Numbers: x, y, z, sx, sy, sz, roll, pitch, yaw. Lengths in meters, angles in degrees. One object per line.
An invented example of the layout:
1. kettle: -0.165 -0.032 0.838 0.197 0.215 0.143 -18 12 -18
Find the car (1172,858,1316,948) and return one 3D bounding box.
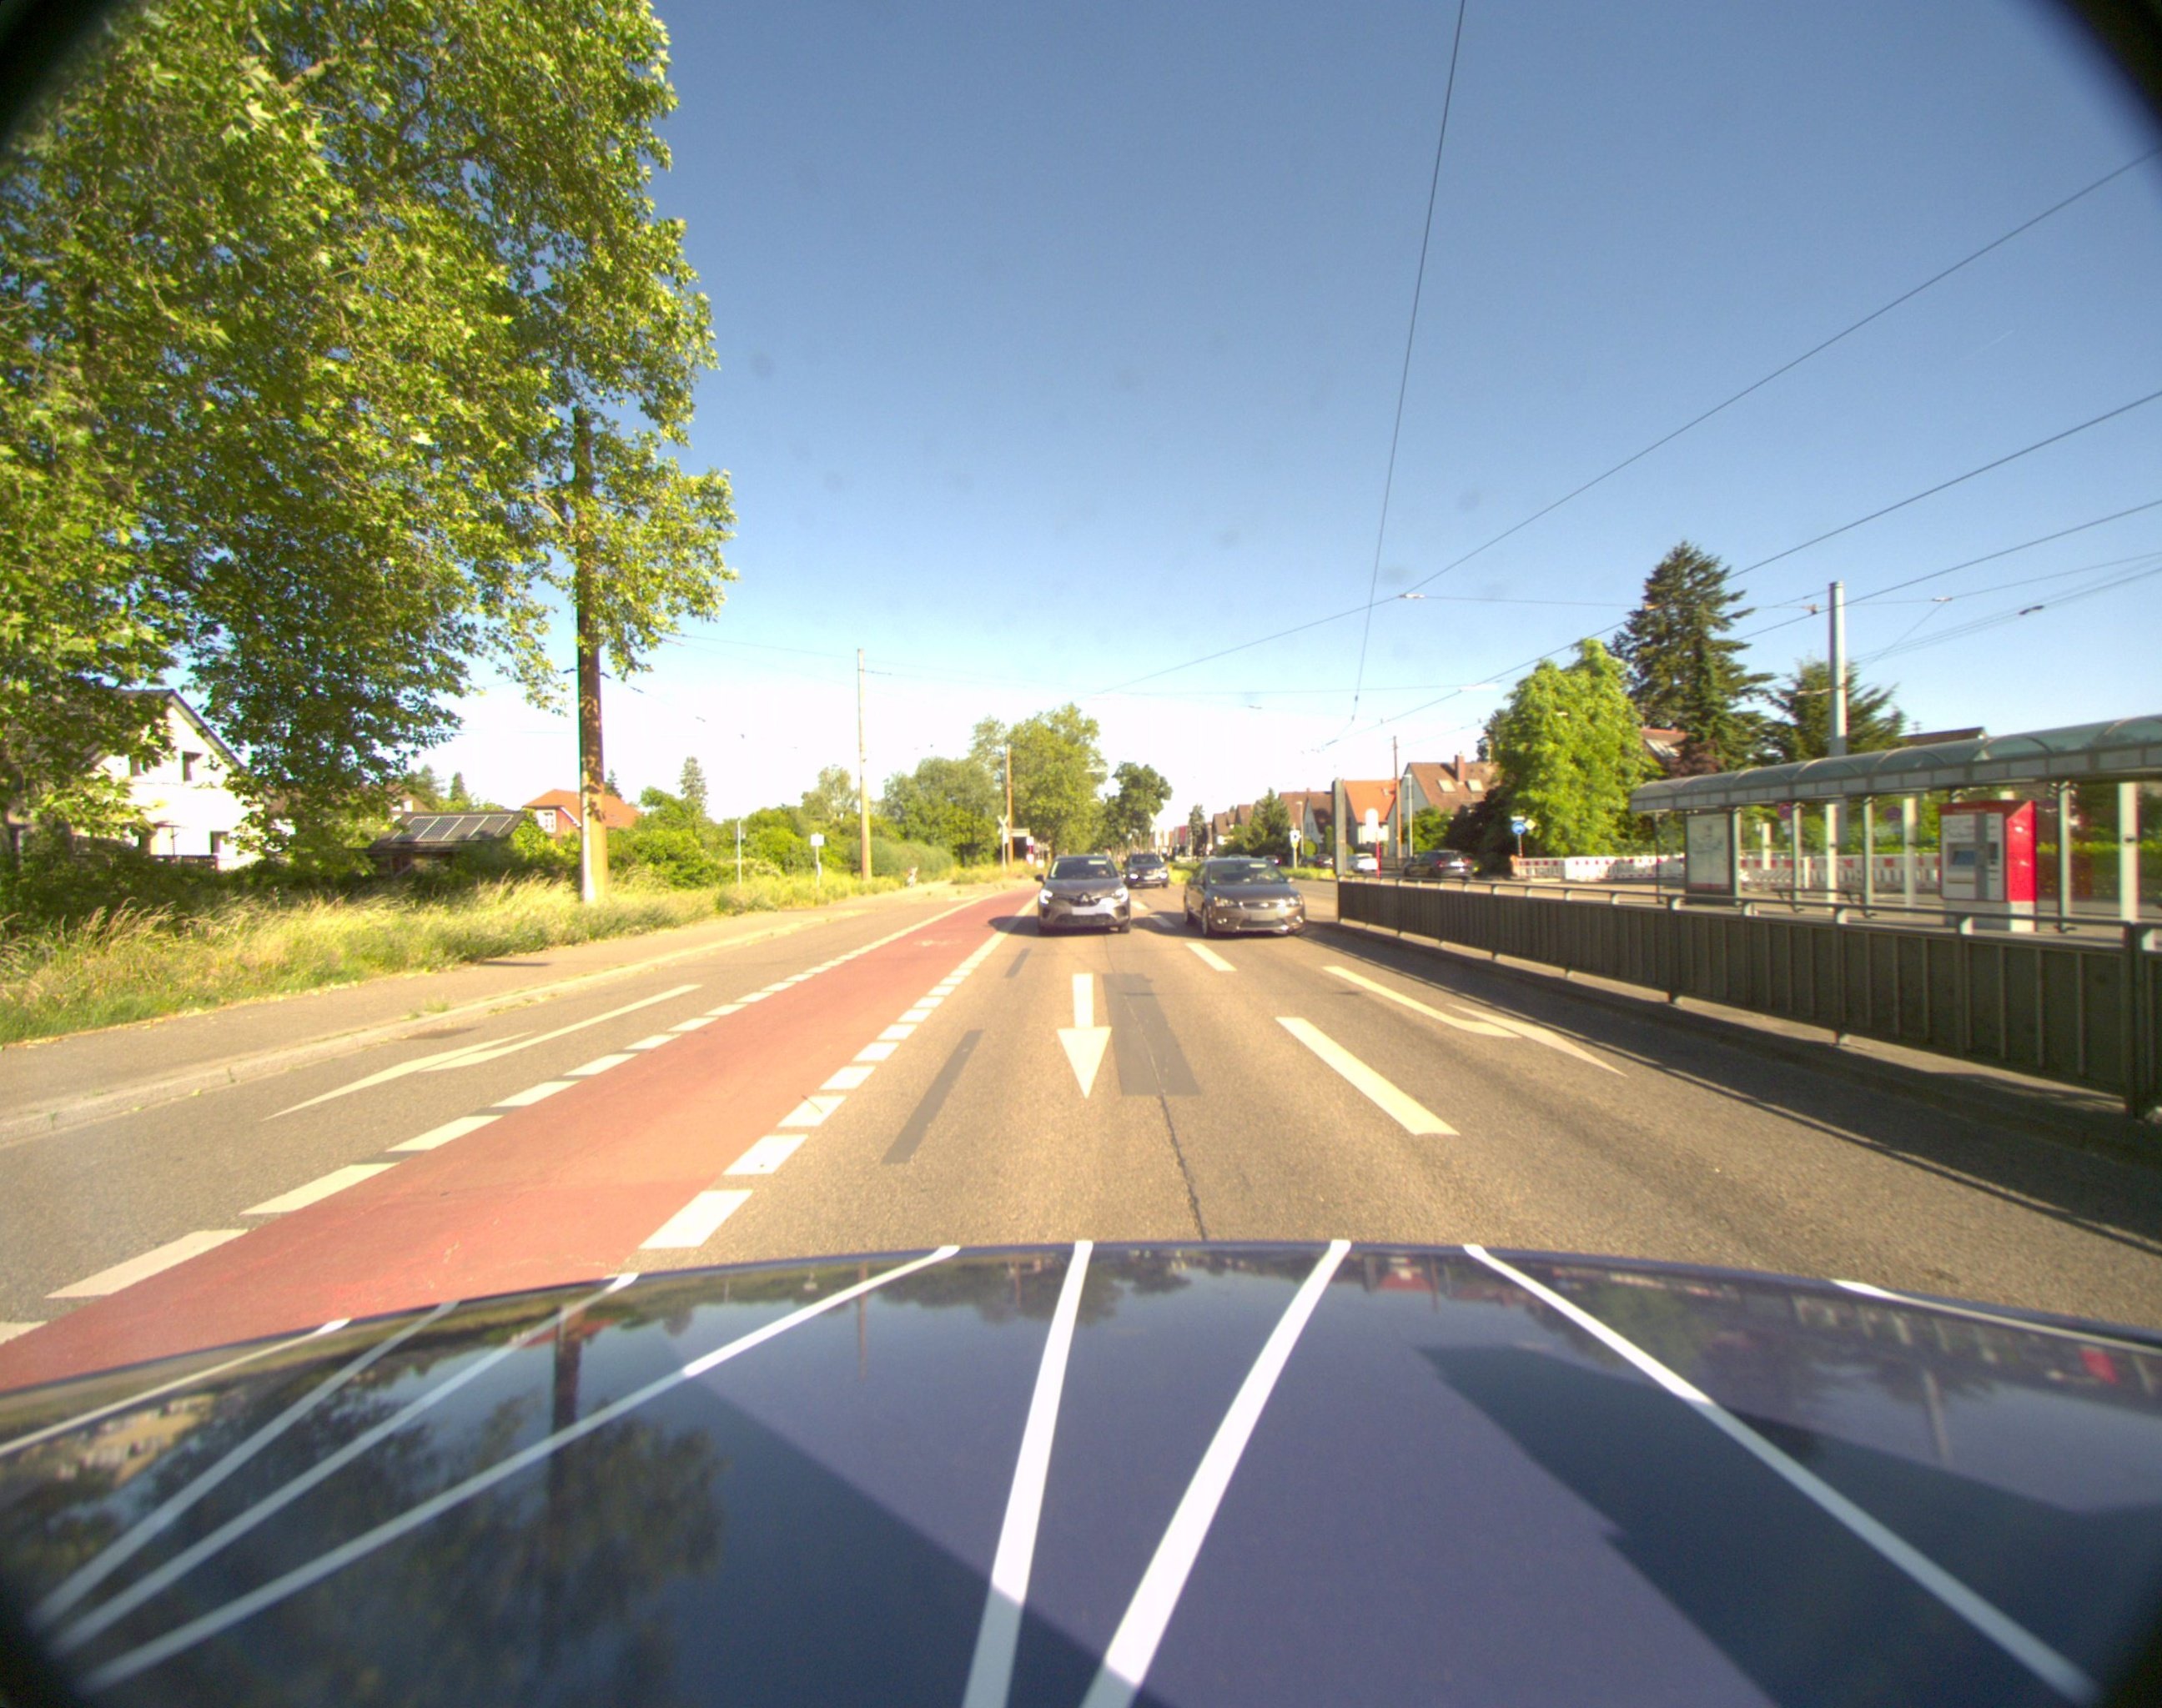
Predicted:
1. car: 3.007 0.837 14.958 1.780 1.441 4.333 -1 0 -1

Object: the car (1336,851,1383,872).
1. car: 21.651 0.533 59.334 1.888 1.464 4.613 -3 1 -1

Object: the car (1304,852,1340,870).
1. car: 21.860 0.599 69.114 1.912 1.457 4.440 -3 1 0

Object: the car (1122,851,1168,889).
1. car: 2.948 0.711 35.803 1.780 1.620 4.288 -1 0 0

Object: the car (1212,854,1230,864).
1. car: 21.855 0.750 118.760 1.998 1.333 4.982 -3 1 0

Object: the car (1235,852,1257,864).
1. car: 22.103 0.465 101.999 1.888 1.463 4.838 -3 0 1

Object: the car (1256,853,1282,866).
1. car: 21.621 0.591 87.690 1.998 1.363 4.310 -2 0 1

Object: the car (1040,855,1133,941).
1. car: 0.082 0.821 15.872 1.673 1.529 3.586 -2 0 -1

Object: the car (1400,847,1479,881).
1. car: 17.082 0.466 36.440 1.740 1.511 4.344 -1 0 0

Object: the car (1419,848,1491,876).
1. car: 21.840 0.437 44.567 1.999 1.492 4.067 -3 1 -3

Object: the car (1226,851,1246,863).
1. car: 21.845 0.399 107.053 1.888 1.552 4.537 -3 0 0

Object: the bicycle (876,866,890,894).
1. bicycle: -8.239 1.070 31.641 0.366 1.128 2.092 -1 0 -19

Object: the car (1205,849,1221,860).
1. car: 22.124 0.060 127.602 1.998 1.852 4.584 -2 0 1
